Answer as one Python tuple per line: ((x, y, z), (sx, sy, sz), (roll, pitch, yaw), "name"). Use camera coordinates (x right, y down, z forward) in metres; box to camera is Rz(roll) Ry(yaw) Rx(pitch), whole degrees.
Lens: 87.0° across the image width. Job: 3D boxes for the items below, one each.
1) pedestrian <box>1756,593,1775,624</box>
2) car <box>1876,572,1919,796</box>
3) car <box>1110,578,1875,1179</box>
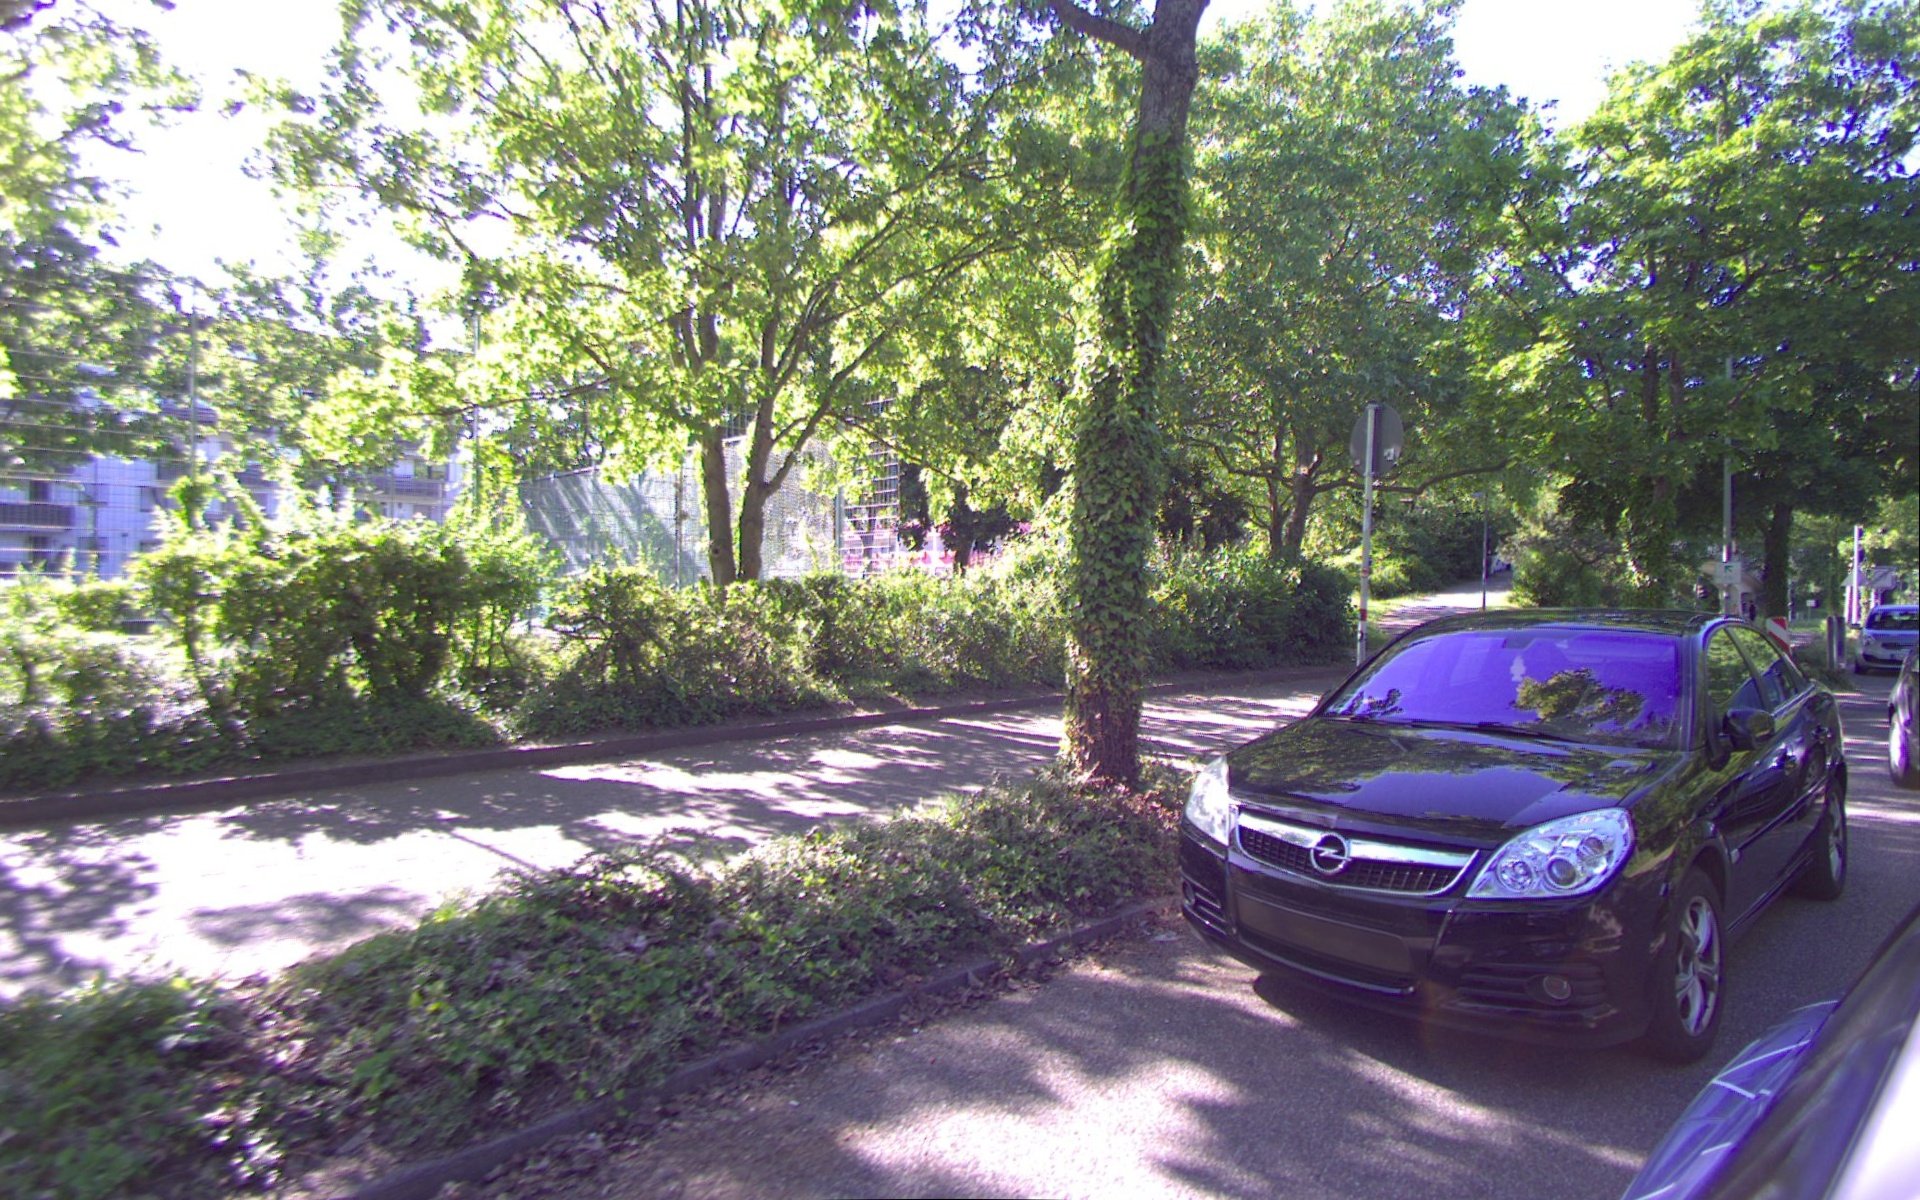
((47.449, 0.492, 59.579), (0.660, 1.855, 0.791), (1, -1, -43), "pedestrian")
((7.460, 0.611, 6.574), (1.724, 1.607, 3.950), (0, 0, 35), "car")
((2.623, 0.674, 4.515), (3.961, 1.499, 1.751), (-1, 0, -42), "car")
